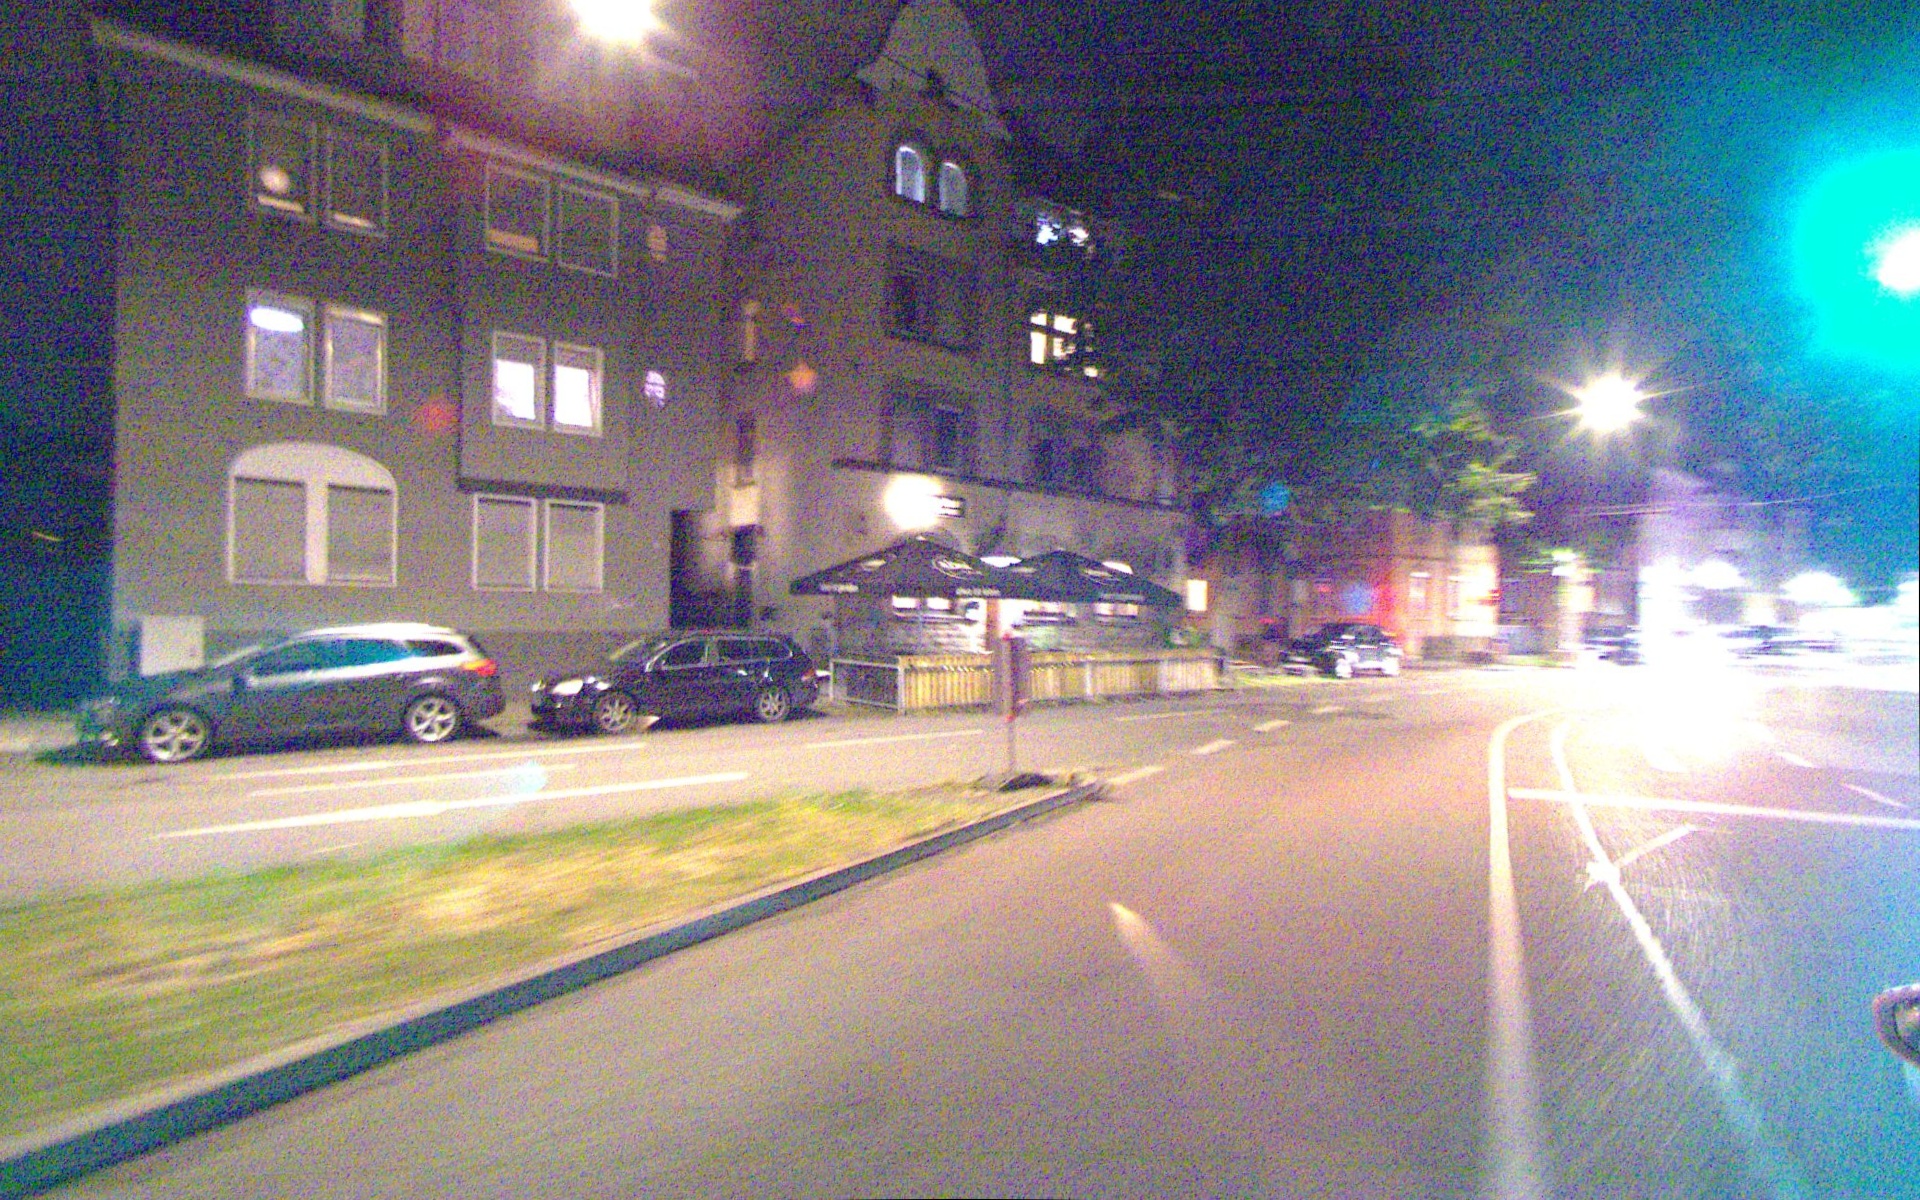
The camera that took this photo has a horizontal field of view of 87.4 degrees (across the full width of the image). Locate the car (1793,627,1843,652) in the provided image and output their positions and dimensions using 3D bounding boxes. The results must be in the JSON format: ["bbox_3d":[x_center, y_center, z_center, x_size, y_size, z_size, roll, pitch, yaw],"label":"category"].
[{"bbox_3d":[54.904,2.497,64.239,4.093,1.434,1.769,1,1,-40],"label":"car"}]

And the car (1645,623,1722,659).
[{"bbox_3d":[34.755,1.933,48.210,4.289,1.511,1.771,1,2,-37],"label":"car"}]

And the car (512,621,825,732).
[{"bbox_3d":[-4.534,1.114,15.943,4.405,1.452,1.846,1,1,-39],"label":"car"}]

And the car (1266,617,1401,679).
[{"bbox_3d":[11.013,1.371,29.531,3.987,1.618,1.872,1,1,-37],"label":"car"}]

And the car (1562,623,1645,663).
[{"bbox_3d":[27.216,1.780,42.459,3.661,1.511,1.582,1,2,-34],"label":"car"}]

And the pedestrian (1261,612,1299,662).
[{"bbox_3d":[11.080,1.278,34.789,1.110,1.713,0.706,1,-1,-28],"label":"pedestrian"}]

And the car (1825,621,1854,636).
[{"bbox_3d":[96.440,3.130,110.124,4.297,1.595,1.975,1,0,-43],"label":"car"}]

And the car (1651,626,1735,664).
[{"bbox_3d":[29.413,1.774,40.282,3.965,1.448,1.702,1,-2,-38],"label":"car"}]

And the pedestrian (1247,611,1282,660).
[{"bbox_3d":[10.860,1.261,35.781,0.985,1.713,0.706,1,-1,-28],"label":"pedestrian"}]

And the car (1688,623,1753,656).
[{"bbox_3d":[38.945,1.971,51.411,3.967,1.511,1.769,1,2,-40],"label":"car"}]

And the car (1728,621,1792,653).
[{"bbox_3d":[44.996,2.051,56.480,4.370,1.603,1.771,1,2,-37],"label":"car"}]

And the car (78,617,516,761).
[{"bbox_3d":[-8.311,1.011,12.921,4.434,1.499,1.846,1,0,-39],"label":"car"}]
